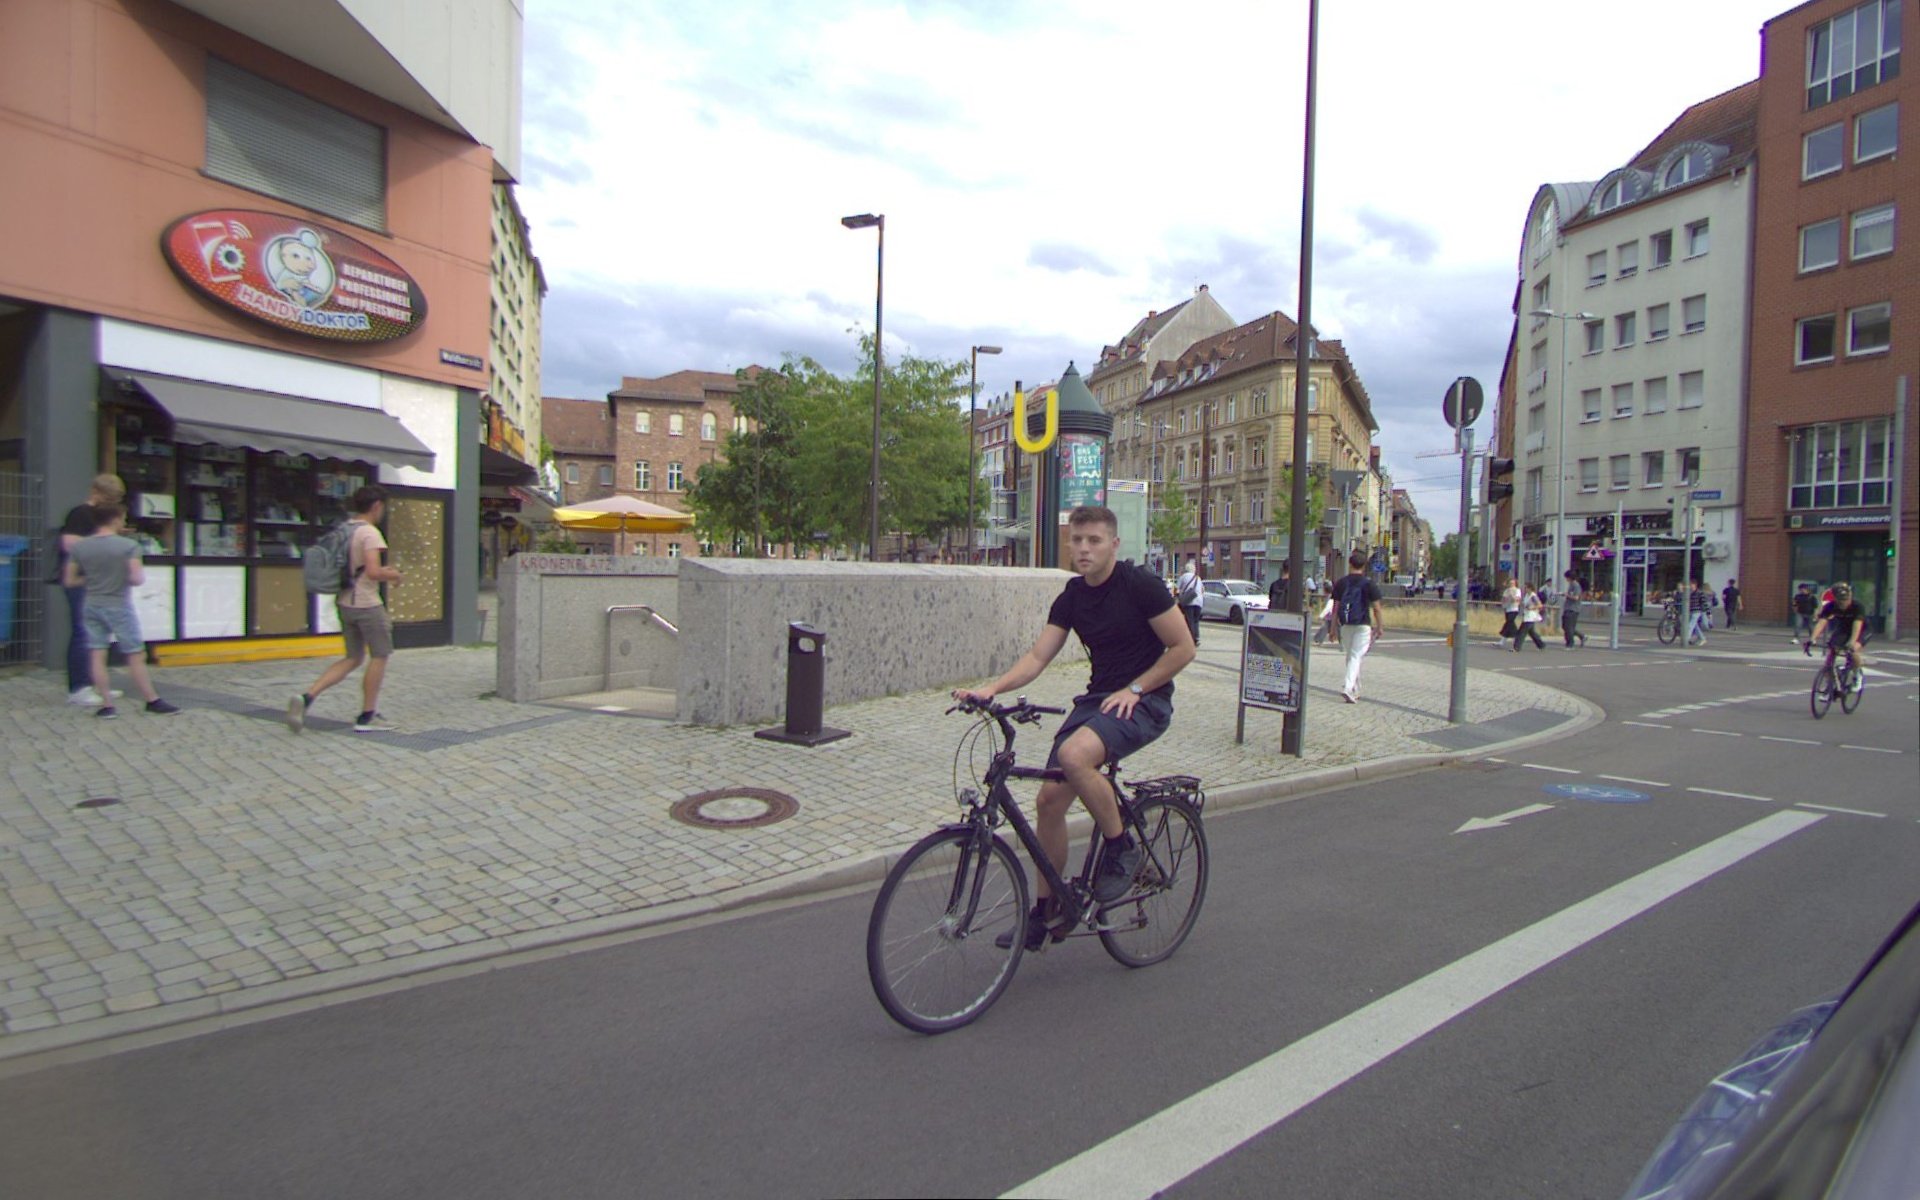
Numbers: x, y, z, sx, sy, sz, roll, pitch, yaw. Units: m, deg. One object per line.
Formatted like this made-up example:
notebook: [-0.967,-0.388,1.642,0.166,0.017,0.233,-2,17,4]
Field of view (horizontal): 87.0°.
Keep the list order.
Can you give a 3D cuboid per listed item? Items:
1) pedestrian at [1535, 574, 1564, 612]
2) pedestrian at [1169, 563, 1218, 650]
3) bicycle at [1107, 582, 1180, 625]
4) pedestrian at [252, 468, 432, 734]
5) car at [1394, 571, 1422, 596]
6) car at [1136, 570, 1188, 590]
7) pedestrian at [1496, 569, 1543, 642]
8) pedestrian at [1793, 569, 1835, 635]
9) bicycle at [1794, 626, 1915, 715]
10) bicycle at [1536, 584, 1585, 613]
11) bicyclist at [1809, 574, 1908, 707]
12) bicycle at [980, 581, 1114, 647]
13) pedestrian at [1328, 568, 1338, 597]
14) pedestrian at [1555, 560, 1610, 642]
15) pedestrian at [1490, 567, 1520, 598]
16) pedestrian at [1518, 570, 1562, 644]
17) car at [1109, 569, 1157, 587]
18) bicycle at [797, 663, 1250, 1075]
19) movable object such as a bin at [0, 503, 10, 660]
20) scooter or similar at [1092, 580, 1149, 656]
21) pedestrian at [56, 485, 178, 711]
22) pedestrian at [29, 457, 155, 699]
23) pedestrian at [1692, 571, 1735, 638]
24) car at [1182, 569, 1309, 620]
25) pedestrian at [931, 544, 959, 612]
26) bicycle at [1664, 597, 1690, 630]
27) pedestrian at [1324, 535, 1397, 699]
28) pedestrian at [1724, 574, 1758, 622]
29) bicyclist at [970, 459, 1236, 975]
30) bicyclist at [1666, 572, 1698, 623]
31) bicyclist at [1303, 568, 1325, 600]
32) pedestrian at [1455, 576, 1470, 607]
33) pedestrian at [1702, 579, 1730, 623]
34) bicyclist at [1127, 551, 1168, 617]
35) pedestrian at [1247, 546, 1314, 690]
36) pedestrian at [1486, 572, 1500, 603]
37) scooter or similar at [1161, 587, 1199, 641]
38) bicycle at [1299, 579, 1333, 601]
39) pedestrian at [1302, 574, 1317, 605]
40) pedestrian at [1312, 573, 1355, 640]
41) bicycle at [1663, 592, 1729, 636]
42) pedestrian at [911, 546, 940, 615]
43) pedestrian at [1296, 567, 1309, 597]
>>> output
pedestrian: [25.840,-0.324,44.364,0.702,1.647,0.795,1,1,-12]
pedestrian: [4.885,0.118,21.234,0.672,1.761,0.939,2,2,-4]
bicycle: [4.957,0.098,27.354,1.899,1.135,0.388,-1,2,25]
pedestrian: [-4.714,-0.024,7.749,0.653,1.874,0.961,5,4,30]
car: [30.907,-1.138,69.818,1.678,1.606,3.629,2,2,25]
car: [14.302,-1.434,71.854,1.798,1.282,4.164,0,2,-19]
pedestrian: [13.410,0.119,24.278,0.693,1.716,0.635,2,1,0]
pedestrian: [24.295,0.058,28.802,0.681,1.846,0.570,1,1,-19]
bicycle: [11.372,0.870,12.863,1.712,1.013,0.490,-1,2,-25]
bicycle: [26.566,-0.067,44.816,0.532,1.219,1.810,1,2,-27]
bicyclist: [11.394,0.493,12.837,0.829,1.623,0.615,0,1,-24]
bicycle: [1.570,0.224,18.578,2.431,1.026,0.539,4,3,32]
pedestrian: [21.808,-1.028,59.168,0.418,1.705,0.513,2,1,15]
pedestrian: [14.572,0.020,23.700,0.858,1.877,0.642,1,1,-18]
pedestrian: [33.608,-1.081,62.466,1.108,1.851,1.167,0,2,-27]
pedestrian: [13.467,0.154,23.515,0.779,1.706,0.471,0,2,-23]
car: [13.064,-1.677,76.762,1.798,1.282,4.164,0,2,-19]
bicycle: [0.349,0.860,3.845,1.981,1.136,0.406,0,1,-41]
movable object such as a bin: [-10.079,-0.193,9.718,1.135,1.534,1.079,2,2,26]
scooter or similar: [2.694,0.280,16.910,1.106,1.227,0.286,-1,2,-41]
pedestrian: [-6.651,-0.031,7.988,0.470,1.693,0.584,5,3,28]
pedestrian: [-7.290,-0.201,8.504,0.668,1.926,0.584,5,3,28]
pedestrian: [19.620,0.114,26.352,0.710,1.706,0.522,1,1,-17]
car: [9.586,-0.239,34.387,1.958,1.530,4.615,-1,3,-17]
pedestrian: [-0.430,-0.620,28.808,0.572,1.890,0.491,2,1,-23]
bicycle: [22.699,0.415,32.062,0.539,0.962,1.786,2,2,32]
pedestrian: [5.181,0.196,13.123,0.713,1.995,1.007,4,2,22]
pedestrian: [27.546,-0.078,35.706,0.698,1.668,0.717,2,1,20]
bicyclist: [0.552,0.382,3.874,0.848,1.730,0.559,0,2,-41]
bicyclist: [22.831,-0.082,32.009,0.741,1.578,0.935,2,2,33]
bicyclist: [18.459,-0.852,52.728,0.629,1.623,0.864,1,2,-25]
pedestrian: [28.412,-0.495,57.237,0.582,1.743,0.518,1,1,12]
pedestrian: [26.981,0.026,36.127,0.585,1.530,0.626,2,1,20]
bicyclist: [5.077,-0.438,27.360,0.898,1.730,0.694,2,2,25]
pedestrian: [4.299,0.214,13.562,0.669,1.821,0.880,4,2,22]
pedestrian: [29.825,-0.713,56.604,0.532,1.743,0.518,1,1,10]
scooter or similar: [4.792,0.293,22.074,0.596,1.124,0.703,2,2,-6]
bicycle: [18.564,-0.543,52.818,0.383,1.100,1.924,1,2,-24]
pedestrian: [19.622,-0.570,56.900,0.595,1.705,0.732,-2,1,6]
pedestrian: [8.817,0.145,23.906,0.831,1.519,0.553,-2,3,-34]
bicycle: [19.508,0.369,26.826,1.791,1.124,0.399,1,1,-17]
pedestrian: [-0.976,-0.550,28.450,0.572,1.890,0.550,2,1,-23]
pedestrian: [19.810,-1.018,58.494,0.504,1.705,0.425,1,1,-17]
